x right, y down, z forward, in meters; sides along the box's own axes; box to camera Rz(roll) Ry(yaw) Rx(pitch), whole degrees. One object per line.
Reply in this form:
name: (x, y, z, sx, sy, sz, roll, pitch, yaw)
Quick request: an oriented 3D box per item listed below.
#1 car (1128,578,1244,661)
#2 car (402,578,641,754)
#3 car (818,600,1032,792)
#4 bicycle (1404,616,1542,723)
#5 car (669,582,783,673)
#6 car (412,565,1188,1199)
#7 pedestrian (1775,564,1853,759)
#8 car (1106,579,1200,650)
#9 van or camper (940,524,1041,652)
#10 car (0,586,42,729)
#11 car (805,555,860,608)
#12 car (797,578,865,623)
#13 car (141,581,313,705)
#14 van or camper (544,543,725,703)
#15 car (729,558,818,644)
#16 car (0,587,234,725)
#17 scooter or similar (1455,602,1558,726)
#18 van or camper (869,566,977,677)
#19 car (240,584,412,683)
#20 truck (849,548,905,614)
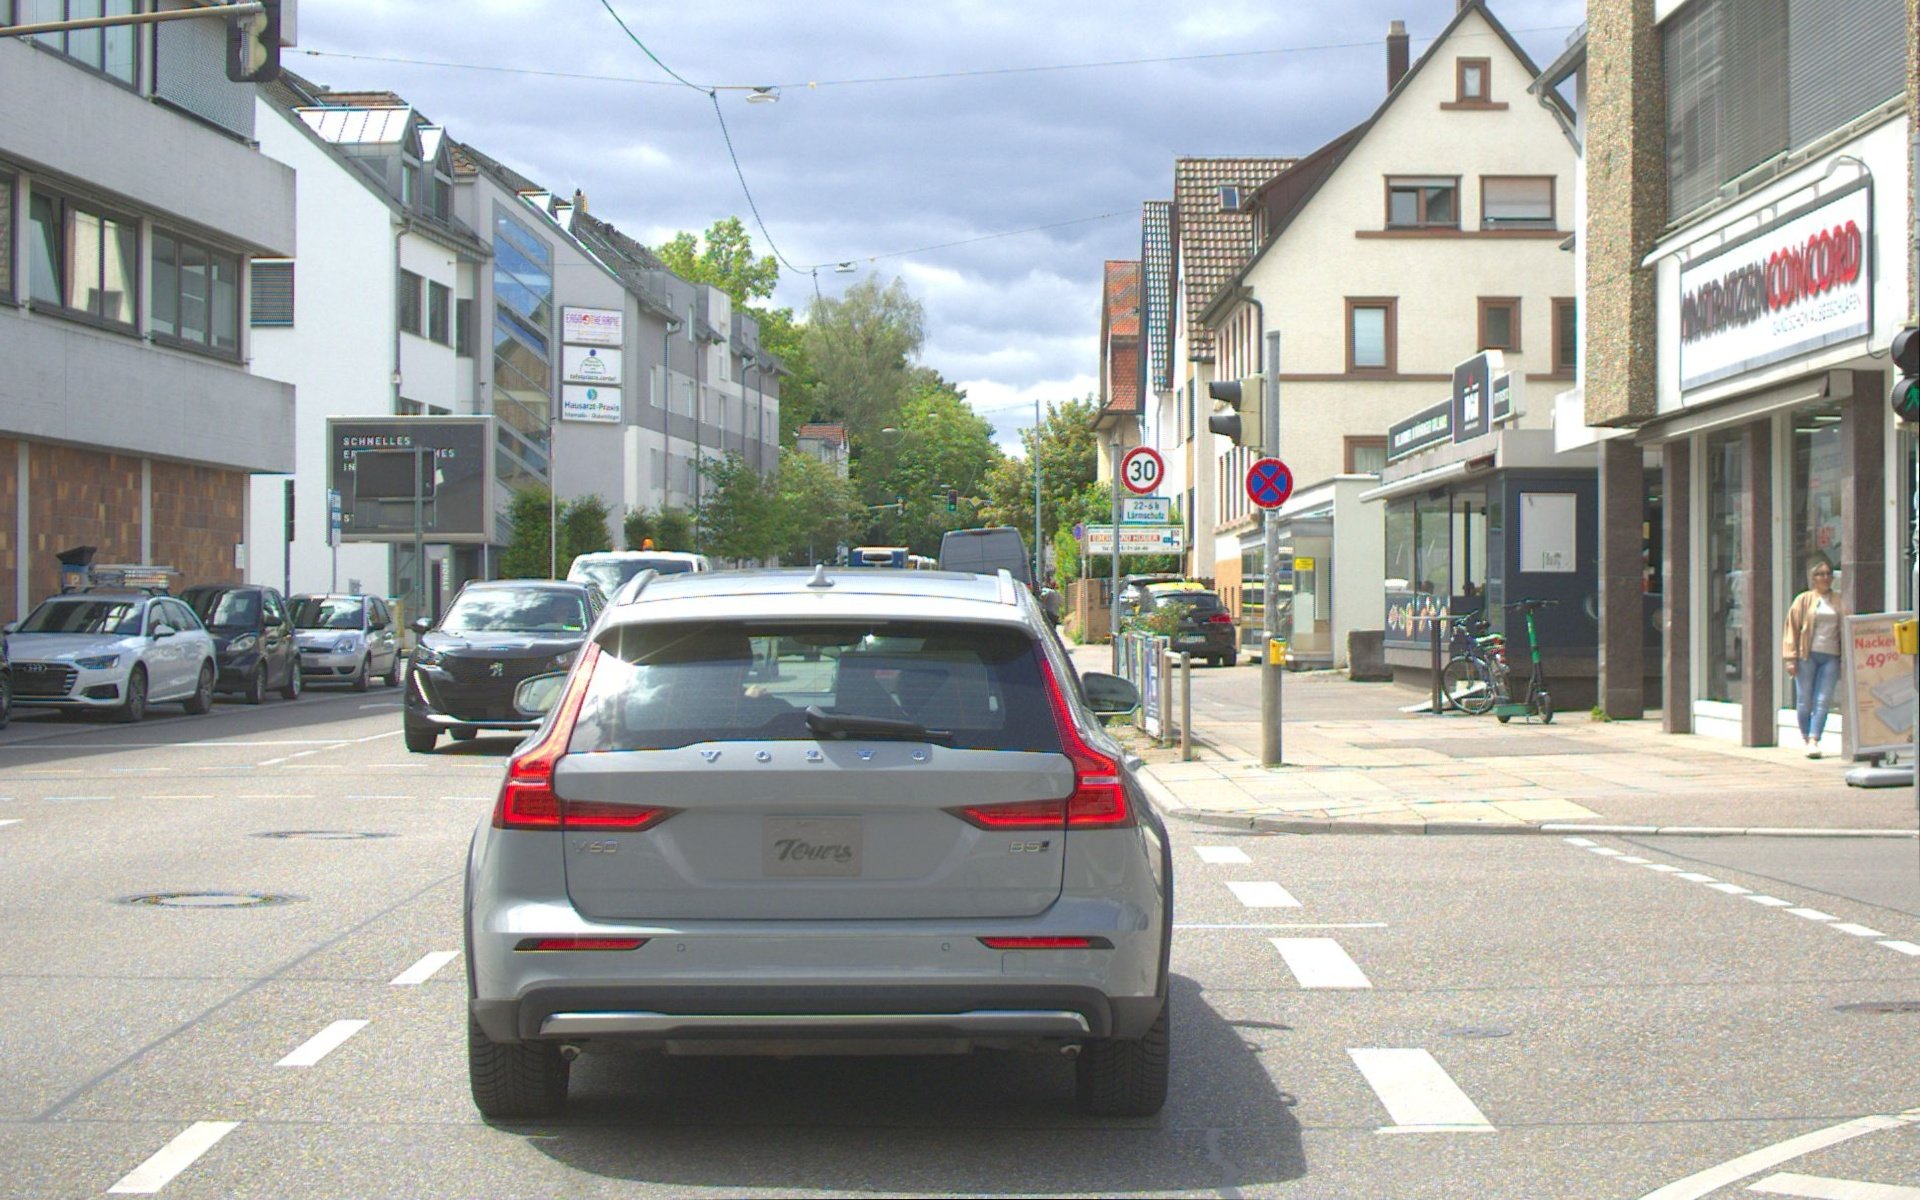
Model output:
car: (4.150, 0.385, 63.514, 1.710, 1.459, 4.000, 1, -1, -2)
car: (-3.947, 0.551, 31.488, 1.683, 1.492, 3.967, 0, 0, 0)
car: (-0.296, 0.755, 28.620, 1.650, 1.477, 3.607, 1, 0, -1)
bicycle: (5.711, 0.759, 38.402, 0.554, 1.140, 2.301, -1, 0, -18)
car: (-4.078, 0.453, 60.510, 1.668, 1.548, 4.215, 0, 0, 1)
car: (-0.408, 0.653, 10.160, 1.836, 1.481, 4.000, 0, 1, -1)
pedestrian: (6.538, 0.468, 26.331, 0.504, 1.454, 0.499, -3, -1, 13)
car: (4.285, 0.344, 76.820, 1.883, 1.495, 3.971, 1, -1, 1)
van or camper: (0.662, -0.272, 75.198, 2.123, 2.677, 4.781, 0, 0, 1)
car: (-10.780, 0.570, 34.531, 1.785, 1.459, 4.086, 2, 0, 4)
car: (-4.615, -0.654, 124.956, 1.797, 1.810, 4.000, 1, -1, 1)
car: (-4.199, 0.012, 112.416, 1.762, 1.421, 3.999, 0, 0, 4)
car: (-9.733, 0.541, 45.822, 1.607, 1.538, 2.944, 2, 1, 1)
van or camper: (-4.034, 0.238, 43.289, 1.864, 1.891, 4.692, 0, 1, 0)
car: (-4.284, 0.028, 79.418, 1.838, 1.911, 4.156, 1, 0, -1)
car: (-10.005, 0.604, 39.924, 1.904, 1.438, 4.442, 2, 0, 4)
scooter or similar: (5.642, 0.660, 35.535, 0.340, 1.249, 1.246, -2, 0, -26)
van or camper: (-0.647, 0.401, 59.862, 1.819, 1.829, 4.000, 0, -2, -1)
car: (-9.576, 0.475, 52.172, 1.755, 1.422, 3.862, 0, 0, 2)
truck: (-3.697, -0.861, 154.970, 2.276, 2.877, 7.079, 0, 0, 1)
